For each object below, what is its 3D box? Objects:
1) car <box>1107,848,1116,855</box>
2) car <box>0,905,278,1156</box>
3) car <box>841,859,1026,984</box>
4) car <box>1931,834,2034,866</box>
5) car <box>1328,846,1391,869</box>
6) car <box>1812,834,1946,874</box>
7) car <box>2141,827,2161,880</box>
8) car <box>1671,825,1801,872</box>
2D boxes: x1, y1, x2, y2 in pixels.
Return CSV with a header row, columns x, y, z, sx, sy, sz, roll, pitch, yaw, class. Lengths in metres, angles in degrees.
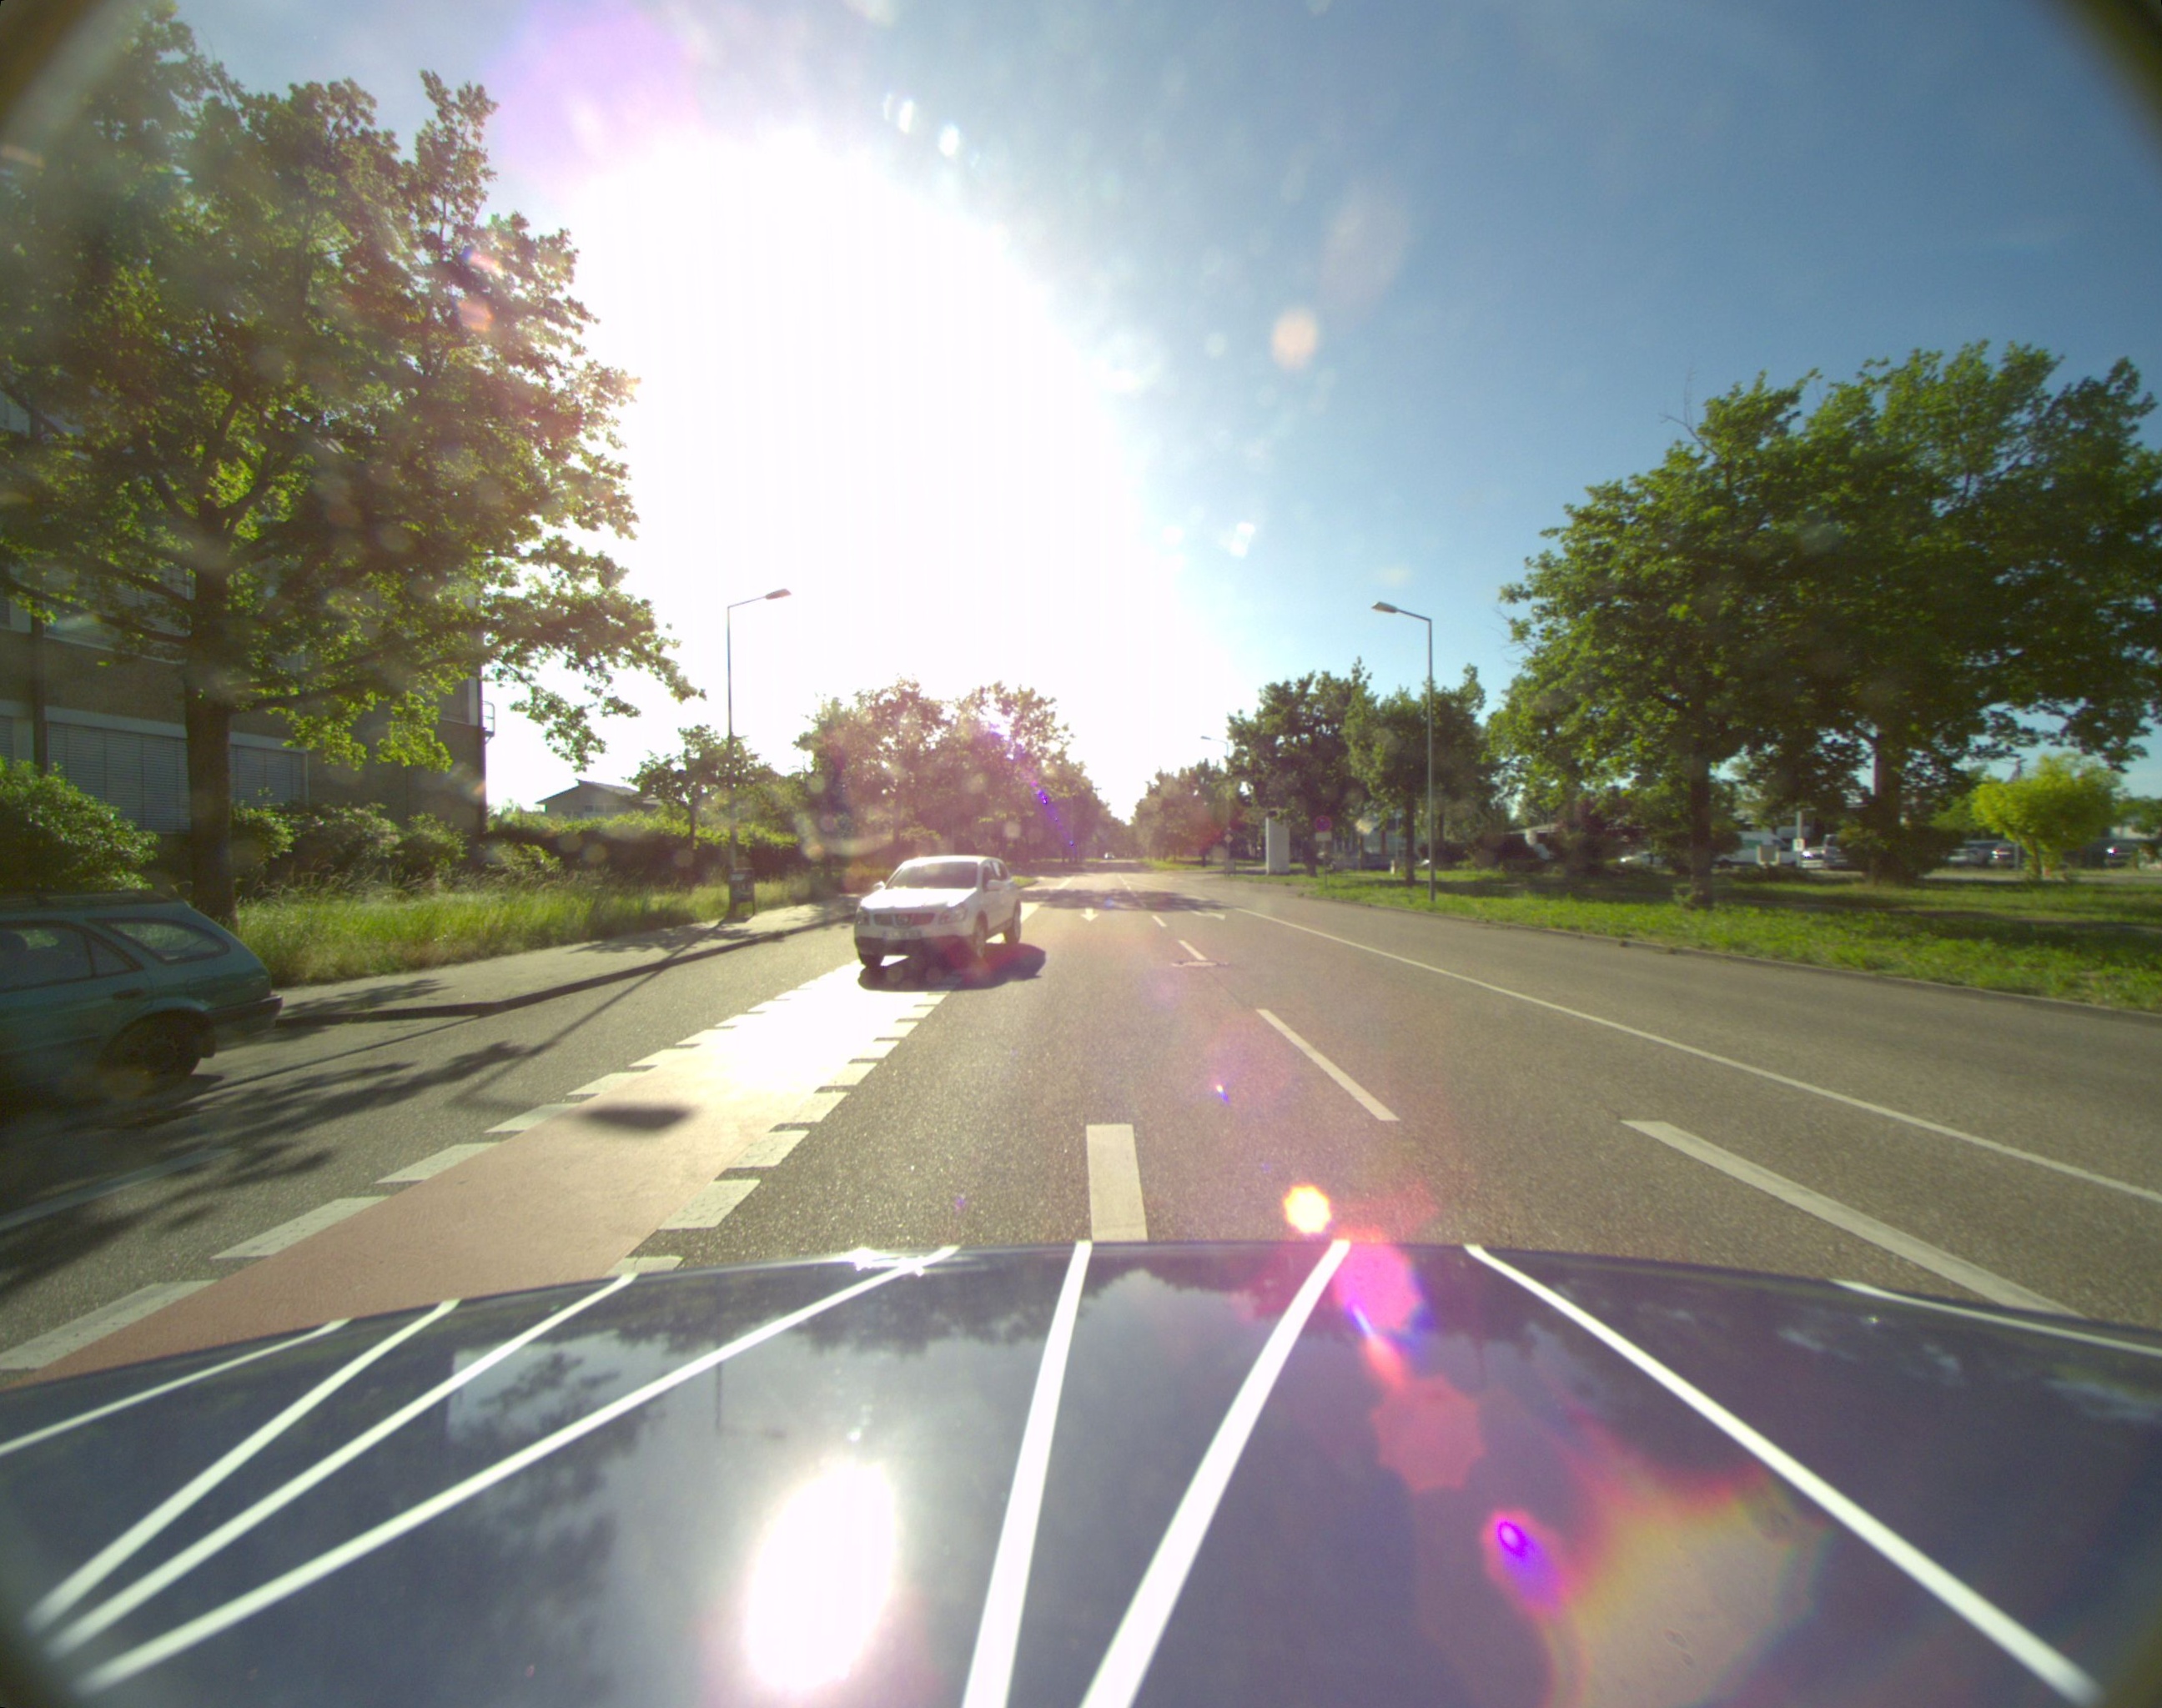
x,y,z,sx,sy,sz,roll,pitch,yaw,class
5.990,-0.525,149.575,1.653,1.460,3.941,-1,0,2,car
-7.519,1.132,4.217,1.706,1.460,4.141,-1,-1,0,car
-2.132,0.928,12.216,1.721,1.598,4.069,-2,0,7,car
52.097,-0.214,43.952,3.860,1.661,1.762,-2,1,0,car
23.939,0.291,65.365,4.637,1.822,2.000,-2,1,0,car
40.069,-0.011,38.214,4.642,1.771,1.990,-2,1,0,car
33.895,-0.090,22.033,3.817,1.562,1.736,-2,-1,0,car
39.908,-0.344,46.391,6.023,2.540,2.409,-2,1,-4,car
